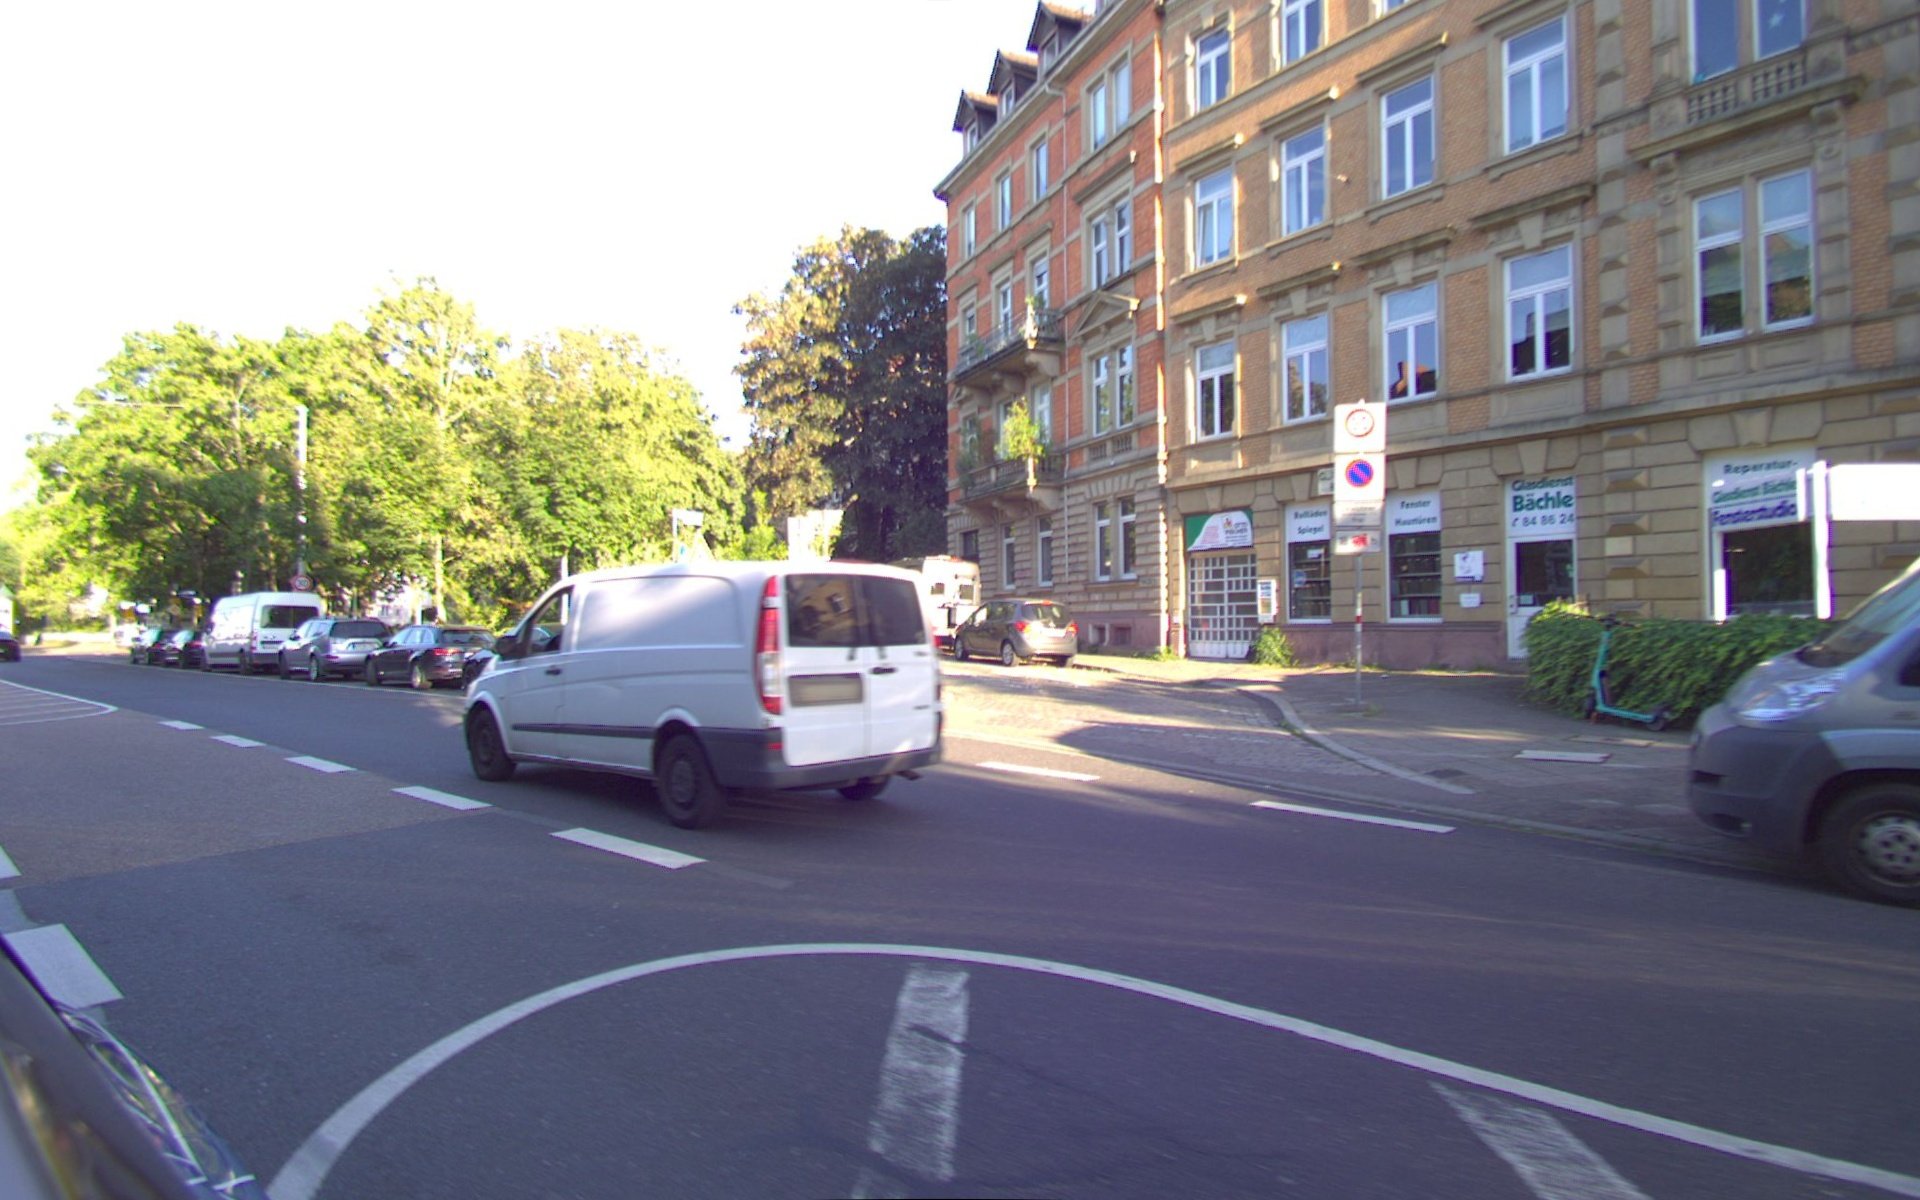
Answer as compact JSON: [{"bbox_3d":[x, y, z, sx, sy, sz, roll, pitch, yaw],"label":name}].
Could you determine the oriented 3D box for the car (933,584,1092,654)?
[{"bbox_3d":[1.167,0.490,25.075,1.965,1.549,4.577,1,-2,-26],"label":"car"}]

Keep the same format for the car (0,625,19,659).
[{"bbox_3d":[-42.641,1.819,44.234,4.542,1.413,1.748,-1,-2,41],"label":"car"}]

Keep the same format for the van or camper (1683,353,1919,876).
[{"bbox_3d":[7.147,0.016,4.766,6.027,2.689,1.975,-1,0,37],"label":"van or camper"}]

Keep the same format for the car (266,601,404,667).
[{"bbox_3d":[-16.915,0.904,27.318,4.568,1.657,1.847,-1,-2,40],"label":"car"}]

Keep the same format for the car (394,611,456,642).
[{"bbox_3d":[-34.591,1.719,65.436,3.992,1.896,1.976,-1,1,37],"label":"car"}]

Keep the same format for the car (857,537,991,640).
[{"bbox_3d":[-1.196,-0.217,29.931,2.090,2.760,5.327,1,-2,-24],"label":"car"}]

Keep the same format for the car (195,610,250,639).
[{"bbox_3d":[-48.703,1.630,66.807,3.992,1.809,1.802,-1,-1,37],"label":"car"}]

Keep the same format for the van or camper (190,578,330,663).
[{"bbox_3d":[-22.419,0.682,32.281,6.300,2.487,2.069,-2,-2,40],"label":"van or camper"}]

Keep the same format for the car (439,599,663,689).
[{"bbox_3d":[-7.873,0.781,19.239,4.826,1.495,1.973,-1,-1,41],"label":"car"}]

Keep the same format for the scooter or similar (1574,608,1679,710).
[{"bbox_3d":[7.313,0.634,11.150,0.284,1.065,1.119,0,-2,-7],"label":"scooter or similar"}]

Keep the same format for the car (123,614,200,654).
[{"bbox_3d":[-32.183,1.351,40.768,4.541,1.518,1.607,-1,-2,41],"label":"car"}]

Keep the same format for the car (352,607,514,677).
[{"bbox_3d":[-12.191,0.919,23.291,4.622,1.456,1.718,-1,-1,41],"label":"car"}]

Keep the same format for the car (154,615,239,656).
[{"bbox_3d":[-28.363,1.322,37.547,4.239,1.440,1.612,-2,-2,40],"label":"car"}]

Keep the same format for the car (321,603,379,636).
[{"bbox_3d":[-43.475,1.388,72.086,5.098,2.306,2.191,-1,-1,43],"label":"car"}]

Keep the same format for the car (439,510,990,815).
[{"bbox_3d":[-2.347,0.442,8.598,5.167,1.845,1.972,-1,-2,42],"label":"car"}]
